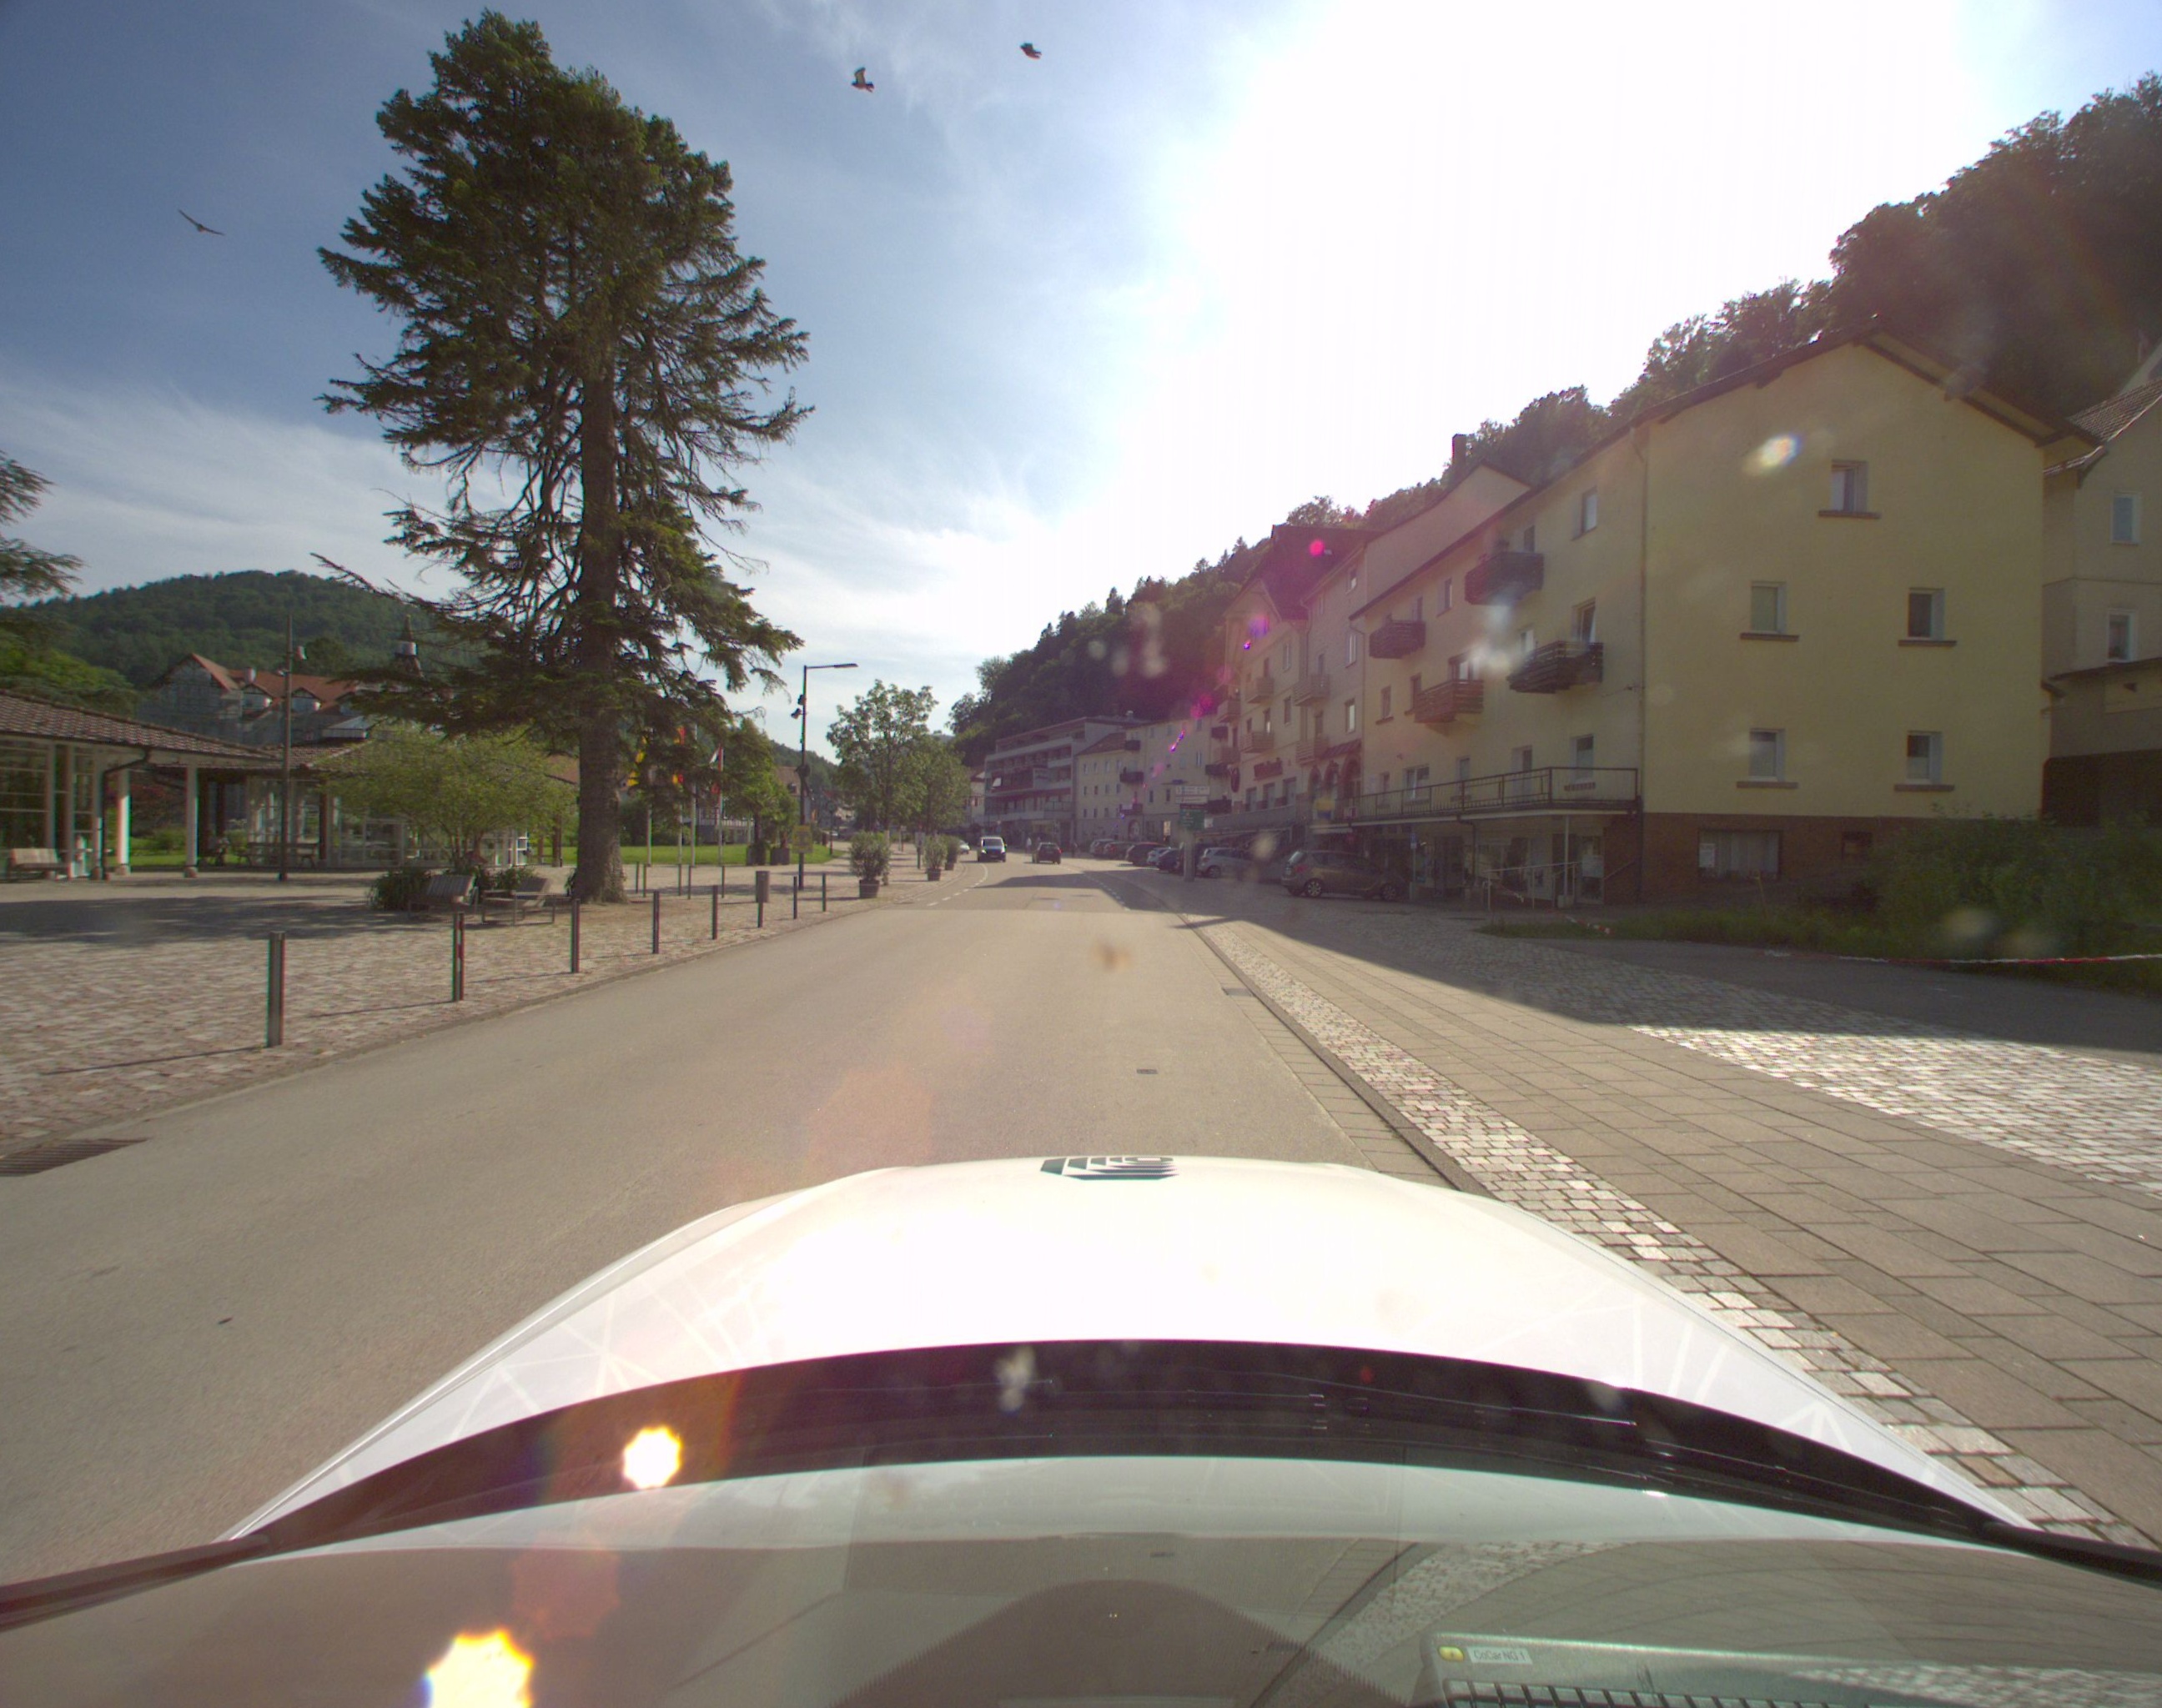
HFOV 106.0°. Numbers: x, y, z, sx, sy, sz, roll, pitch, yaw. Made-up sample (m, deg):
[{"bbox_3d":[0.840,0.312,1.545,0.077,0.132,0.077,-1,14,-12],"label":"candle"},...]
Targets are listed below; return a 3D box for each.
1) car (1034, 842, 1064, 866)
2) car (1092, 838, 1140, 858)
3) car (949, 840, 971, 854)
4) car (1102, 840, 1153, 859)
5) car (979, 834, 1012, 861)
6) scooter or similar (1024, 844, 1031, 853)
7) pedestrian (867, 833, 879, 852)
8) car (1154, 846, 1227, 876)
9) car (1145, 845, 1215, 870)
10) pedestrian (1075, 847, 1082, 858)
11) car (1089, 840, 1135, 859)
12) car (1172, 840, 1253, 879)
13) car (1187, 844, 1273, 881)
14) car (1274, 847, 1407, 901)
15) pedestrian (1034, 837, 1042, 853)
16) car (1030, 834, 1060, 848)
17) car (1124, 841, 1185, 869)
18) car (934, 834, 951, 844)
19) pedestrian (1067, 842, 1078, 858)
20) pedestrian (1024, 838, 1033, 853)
[{"bbox_3d":[-2.417,0.004,60.779,1.727,1.574,3.741,1,2,-10],"label":"car"},{"bbox_3d":[3.139,-0.561,73.237,3.878,1.549,1.759,-2,3,-24],"label":"car"},{"bbox_3d":[-11.947,-0.712,80.396,1.631,1.370,4.041,-1,1,-16],"label":"car"},{"bbox_3d":[3.972,-0.410,70.064,4.027,1.516,1.759,-2,3,-24],"label":"car"},{"bbox_3d":[-6.528,-0.486,61.862,1.857,1.953,4.994,-1,1,-14],"label":"car"},{"bbox_3d":[-5.775,-0.647,87.955,0.599,0.950,0.470,1,1,-26],"label":"scooter or similar"},{"bbox_3d":[-19.268,-1.066,75.394,0.871,1.815,0.686,1,1,-25],"label":"pedestrian"},{"bbox_3d":[6.251,0.404,46.779,3.900,1.460,1.734,3,1,-3],"label":"car"},{"bbox_3d":[6.468,0.245,53.321,4.343,1.461,1.772,2,-1,-1],"label":"car"},{"bbox_3d":[-0.218,-0.164,74.339,0.420,1.002,0.525,-2,1,-35],"label":"pedestrian"},{"bbox_3d":[2.867,-0.436,75.393,3.878,1.612,1.759,-2,3,-24],"label":"car"},{"bbox_3d":[7.040,0.290,43.891,3.900,1.804,1.855,4,0,-3],"label":"car"},{"bbox_3d":[7.525,0.420,41.300,3.901,1.589,1.773,3,1,-3],"label":"car"},{"bbox_3d":[8.720,0.645,27.504,3.854,1.554,1.757,3,0,-6],"label":"car"},{"bbox_3d":[-4.614,-0.965,87.540,0.672,1.728,0.702,1,1,-26],"label":"pedestrian"},{"bbox_3d":[-4.294,-1.541,96.159,3.177,1.663,1.582,1,1,-24],"label":"car"},{"bbox_3d":[5.230,0.052,58.165,4.074,1.666,1.771,4,1,-3],"label":"car"},{"bbox_3d":[-23.437,-2.501,138.186,1.685,1.620,3.965,1,1,-27],"label":"car"},{"bbox_3d":[-0.744,-0.360,74.080,0.740,1.442,0.626,-2,1,-33],"label":"pedestrian"},{"bbox_3d":[-5.685,-0.955,87.778,0.761,1.593,0.623,1,1,-26],"label":"pedestrian"}]
